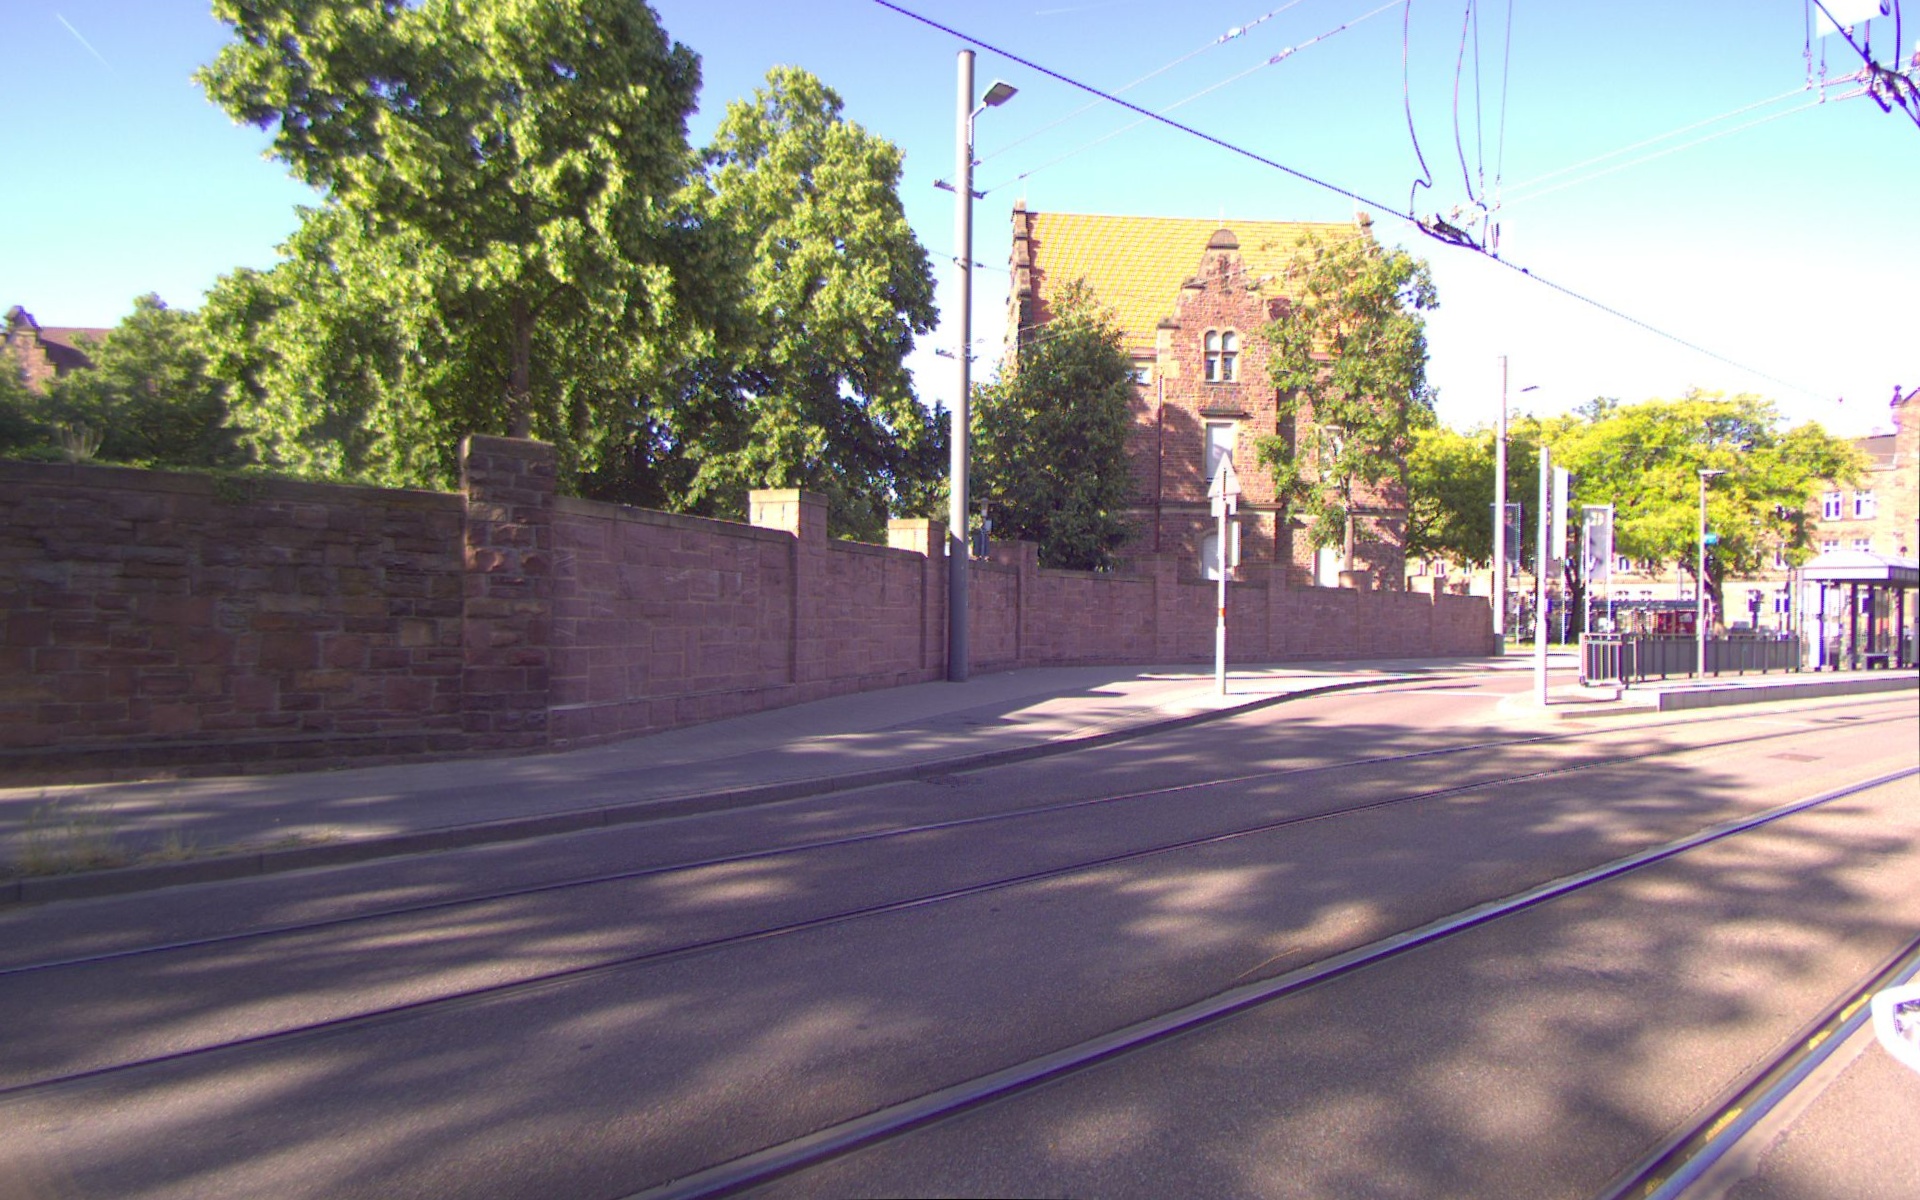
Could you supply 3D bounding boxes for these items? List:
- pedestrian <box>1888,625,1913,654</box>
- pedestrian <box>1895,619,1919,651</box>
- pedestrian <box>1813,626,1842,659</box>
[{"bbox_3d":[52.368,2.192,55.920,0.924,1.609,0.798,2,0,-32],"label":"pedestrian"},{"bbox_3d":[51.455,1.904,54.396,1.017,1.706,0.891,2,0,-30],"label":"pedestrian"},{"bbox_3d":[46.223,2.271,53.532,1.017,1.714,0.839,2,0,-30],"label":"pedestrian"}]
